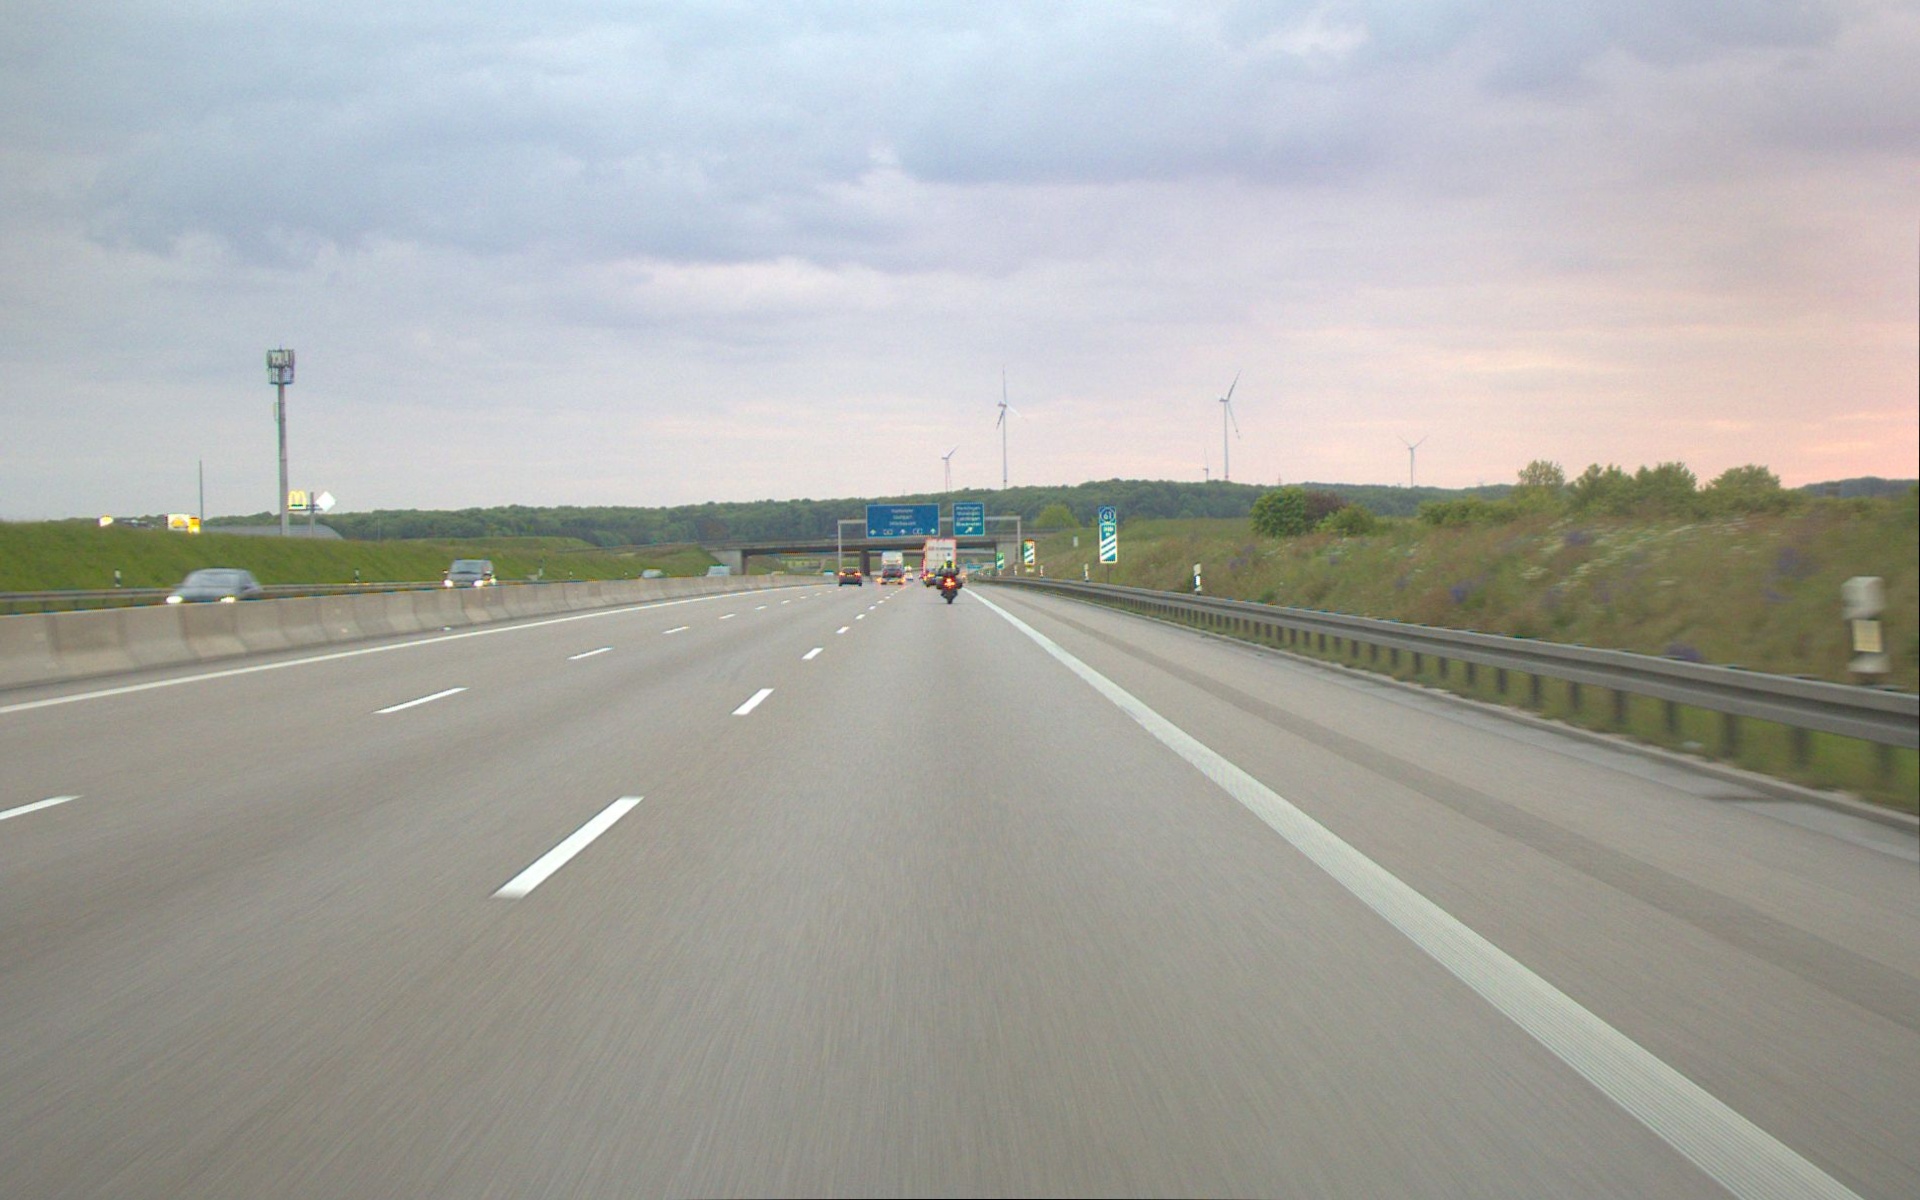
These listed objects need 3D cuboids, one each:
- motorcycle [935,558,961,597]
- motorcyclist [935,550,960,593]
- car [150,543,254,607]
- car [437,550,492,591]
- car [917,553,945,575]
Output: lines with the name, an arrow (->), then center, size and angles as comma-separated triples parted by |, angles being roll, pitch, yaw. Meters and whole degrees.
motorcycle -> -0.429, -0.817, 121.586 | 0.902, 1.342, 2.349 | 0, 1, 0
motorcyclist -> -0.436, -1.008, 121.508 | 0.866, 1.482, 1.168 | 1, 1, 1
car -> -20.468, -0.693, 92.976 | 1.824, 1.657, 4.651 | 1, 1, -1
car -> -24.054, -1.454, 167.010 | 1.993, 1.930, 5.090 | 1, 1, -1
car -> -2.140, -2.623, 252.654 | 1.918, 1.574, 4.000 | 0, 1, -1
